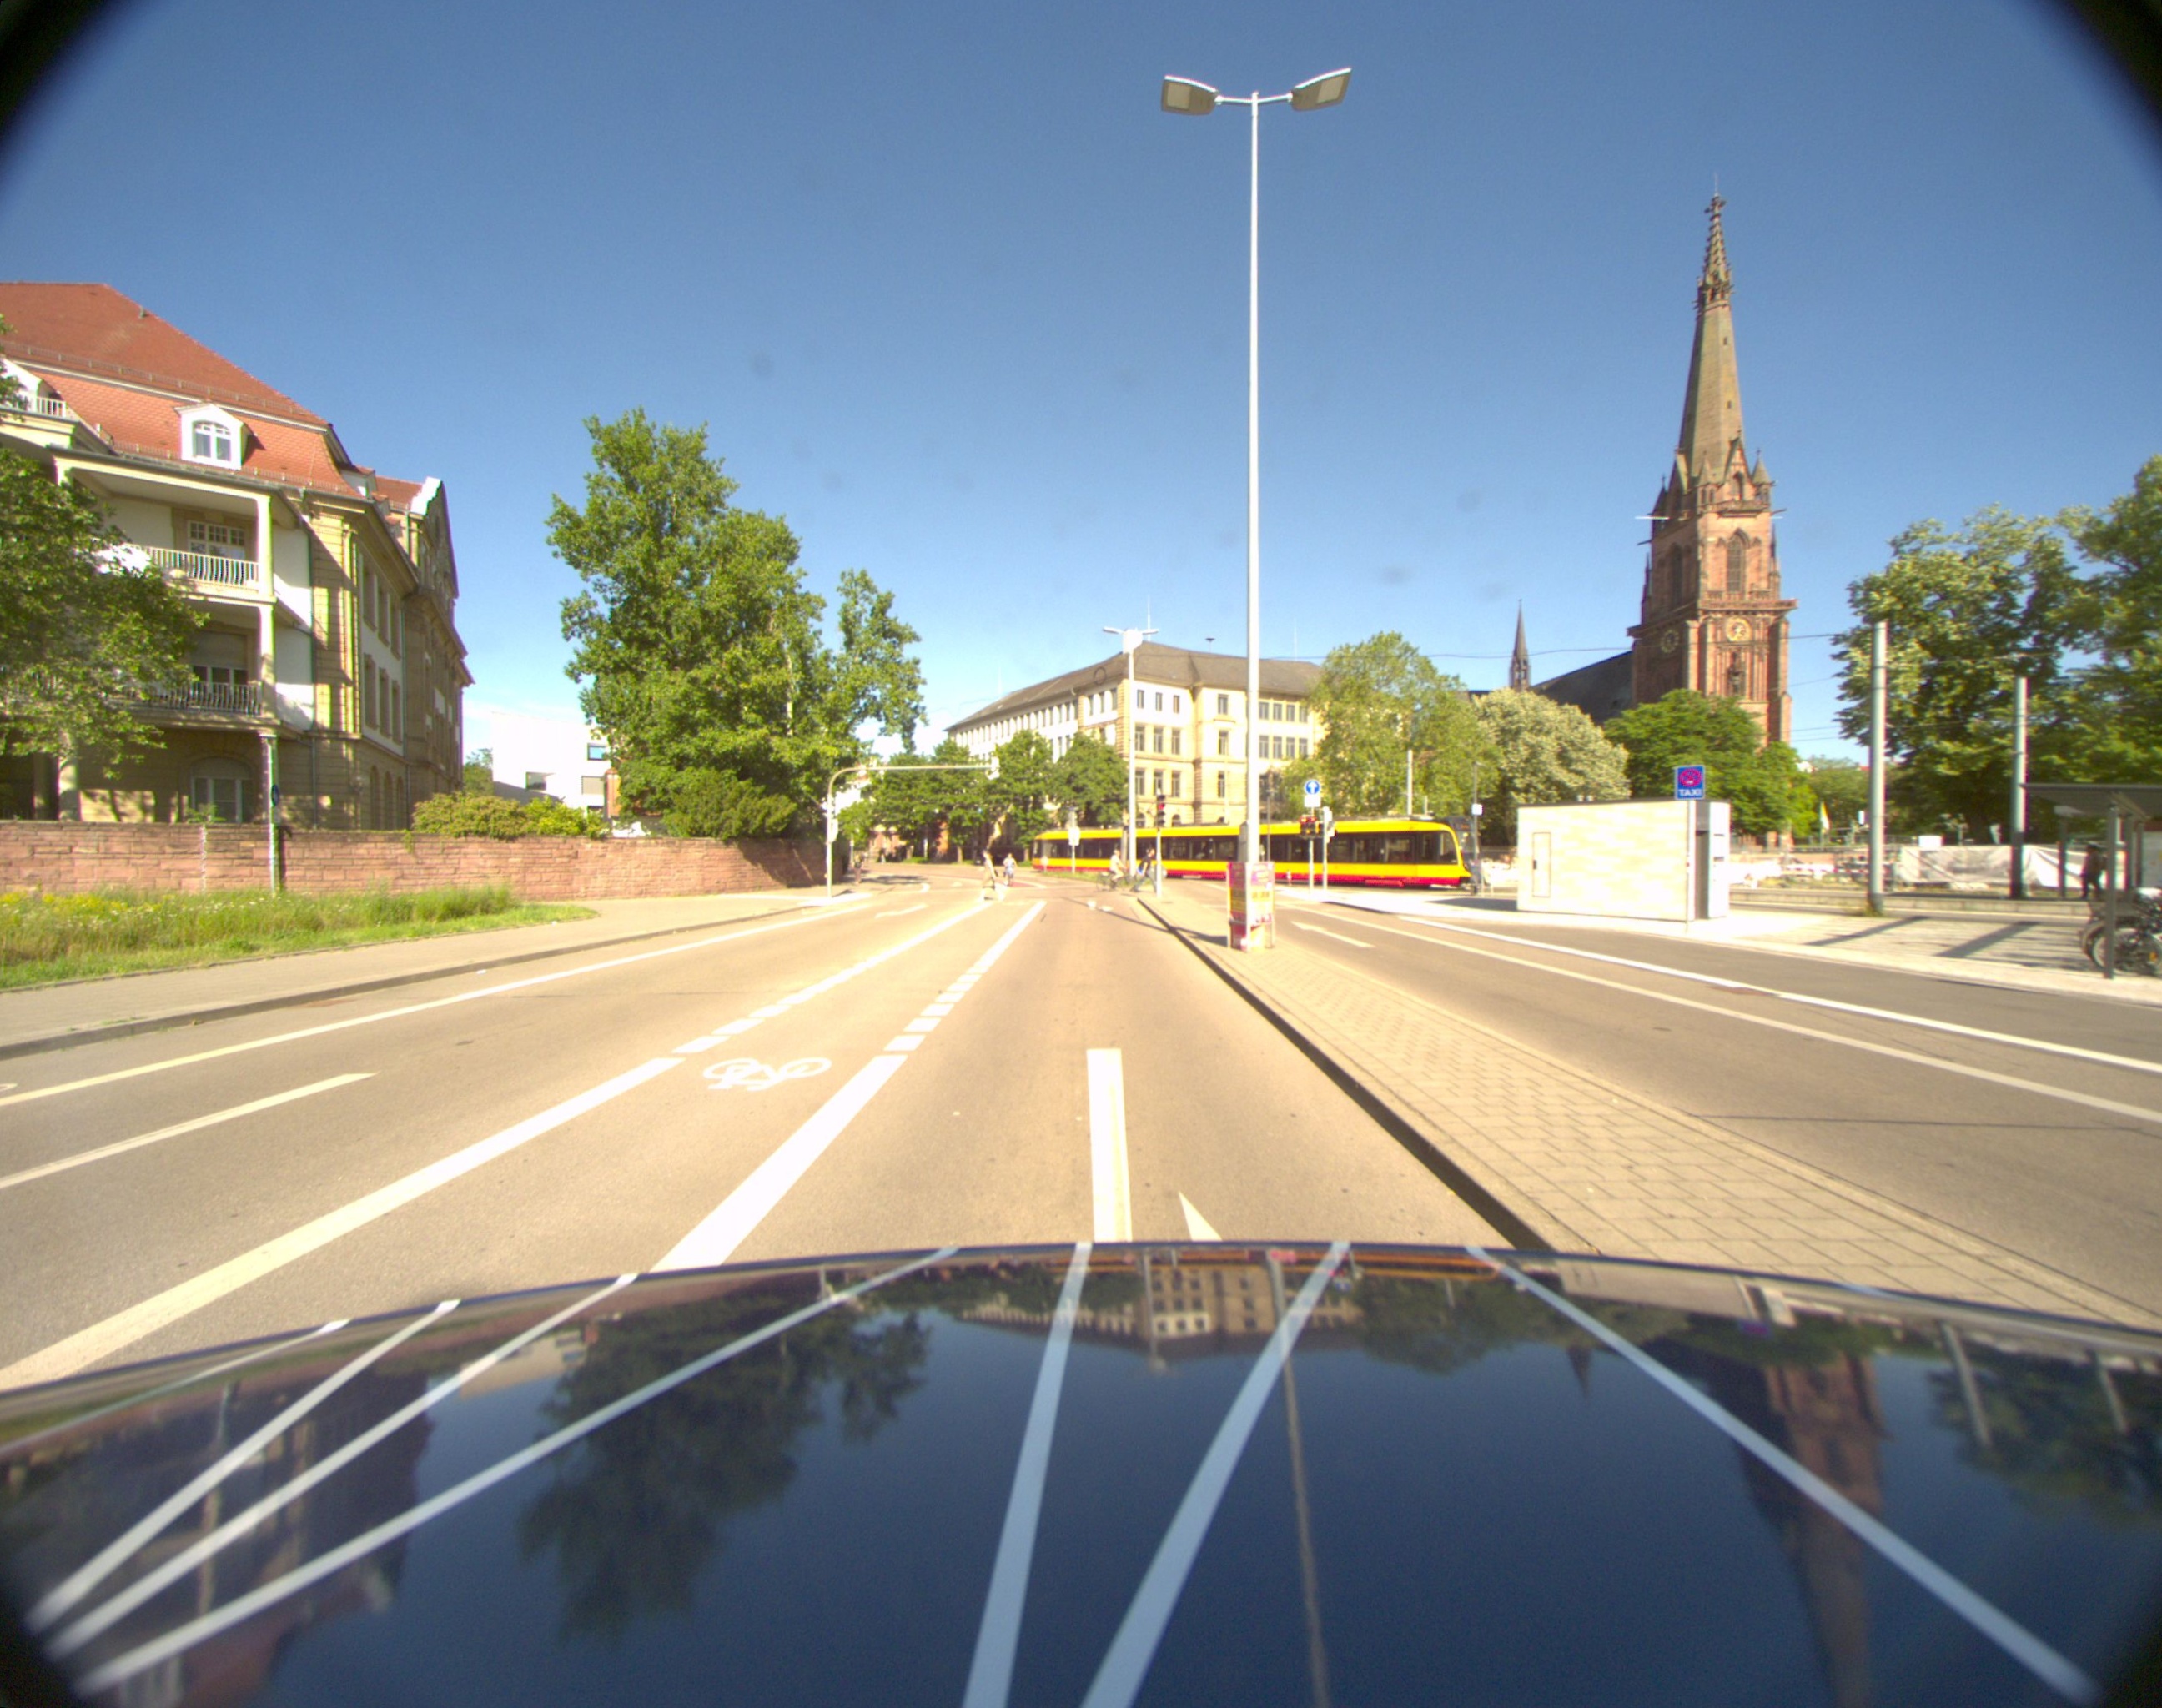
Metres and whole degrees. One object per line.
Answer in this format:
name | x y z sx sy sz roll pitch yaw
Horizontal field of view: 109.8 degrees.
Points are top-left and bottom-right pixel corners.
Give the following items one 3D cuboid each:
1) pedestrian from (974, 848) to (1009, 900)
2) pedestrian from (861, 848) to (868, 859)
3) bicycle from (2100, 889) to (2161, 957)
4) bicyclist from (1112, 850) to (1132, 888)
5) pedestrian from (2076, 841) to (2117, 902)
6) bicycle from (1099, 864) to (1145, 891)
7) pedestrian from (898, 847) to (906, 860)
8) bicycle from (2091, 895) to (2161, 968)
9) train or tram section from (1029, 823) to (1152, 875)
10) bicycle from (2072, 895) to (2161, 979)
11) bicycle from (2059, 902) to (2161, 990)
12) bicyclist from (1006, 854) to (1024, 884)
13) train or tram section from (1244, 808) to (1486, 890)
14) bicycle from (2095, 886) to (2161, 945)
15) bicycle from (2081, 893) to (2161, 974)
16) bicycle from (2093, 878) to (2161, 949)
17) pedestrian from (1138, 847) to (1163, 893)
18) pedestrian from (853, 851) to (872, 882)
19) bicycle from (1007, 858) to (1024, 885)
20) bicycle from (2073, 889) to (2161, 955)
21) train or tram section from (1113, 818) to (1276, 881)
pedestrian | -3.218 0.716 27.407 1.229 1.845 0.827 0 1 -6
pedestrian | -35.264 -0.063 123.632 0.759 1.802 0.978 -1 1 -38
bicycle | 17.167 1.094 11.621 0.630 1.002 1.826 -1 1 -32
bicyclist | 1.753 0.619 32.420 0.777 1.596 0.722 -1 1 -2
pedestrian | 30.931 0.519 23.155 0.606 1.845 0.679 -1 1 -42
bicycle | 1.727 1.001 32.401 1.883 1.064 0.724 -1 1 -2
pedestrian | -26.565 -0.092 112.727 0.979 1.801 0.758 -3 -2 12
bicycle | 16.180 1.156 10.997 0.630 1.002 1.826 -1 1 -32
train or tram section | 0.383 -0.399 58.802 2.806 3.580 12.504 -1 1 -35
bicycle | 14.672 1.125 10.059 0.630 1.059 1.826 -1 1 -32
bicycle | 13.935 1.202 9.588 0.702 1.002 1.863 -1 2 -32
bicyclist | -3.513 0.756 40.257 0.870 1.551 1.279 0 1 -8
train or tram section | 13.963 -0.248 39.191 2.838 3.580 12.294 -1 1 -35
bicycle | 19.527 1.118 13.454 0.630 1.002 1.826 -1 1 -32
bicycle | 15.142 1.111 10.324 0.574 1.045 1.826 -1 1 -32
bicycle | 18.948 1.042 13.046 0.630 1.173 1.826 -1 1 -32
pedestrian | 2.815 0.632 30.720 0.960 1.839 0.731 1 1 5
pedestrian | -12.551 0.715 43.701 0.940 1.711 0.994 0 1 -12
bicycle | -3.477 0.908 40.253 0.762 1.360 2.736 0 1 -8
bicycle | 17.814 1.132 12.457 0.630 1.002 1.826 -1 1 -32
train or tram section | 6.936 -0.302 49.322 2.806 3.580 12.294 -1 1 -35
